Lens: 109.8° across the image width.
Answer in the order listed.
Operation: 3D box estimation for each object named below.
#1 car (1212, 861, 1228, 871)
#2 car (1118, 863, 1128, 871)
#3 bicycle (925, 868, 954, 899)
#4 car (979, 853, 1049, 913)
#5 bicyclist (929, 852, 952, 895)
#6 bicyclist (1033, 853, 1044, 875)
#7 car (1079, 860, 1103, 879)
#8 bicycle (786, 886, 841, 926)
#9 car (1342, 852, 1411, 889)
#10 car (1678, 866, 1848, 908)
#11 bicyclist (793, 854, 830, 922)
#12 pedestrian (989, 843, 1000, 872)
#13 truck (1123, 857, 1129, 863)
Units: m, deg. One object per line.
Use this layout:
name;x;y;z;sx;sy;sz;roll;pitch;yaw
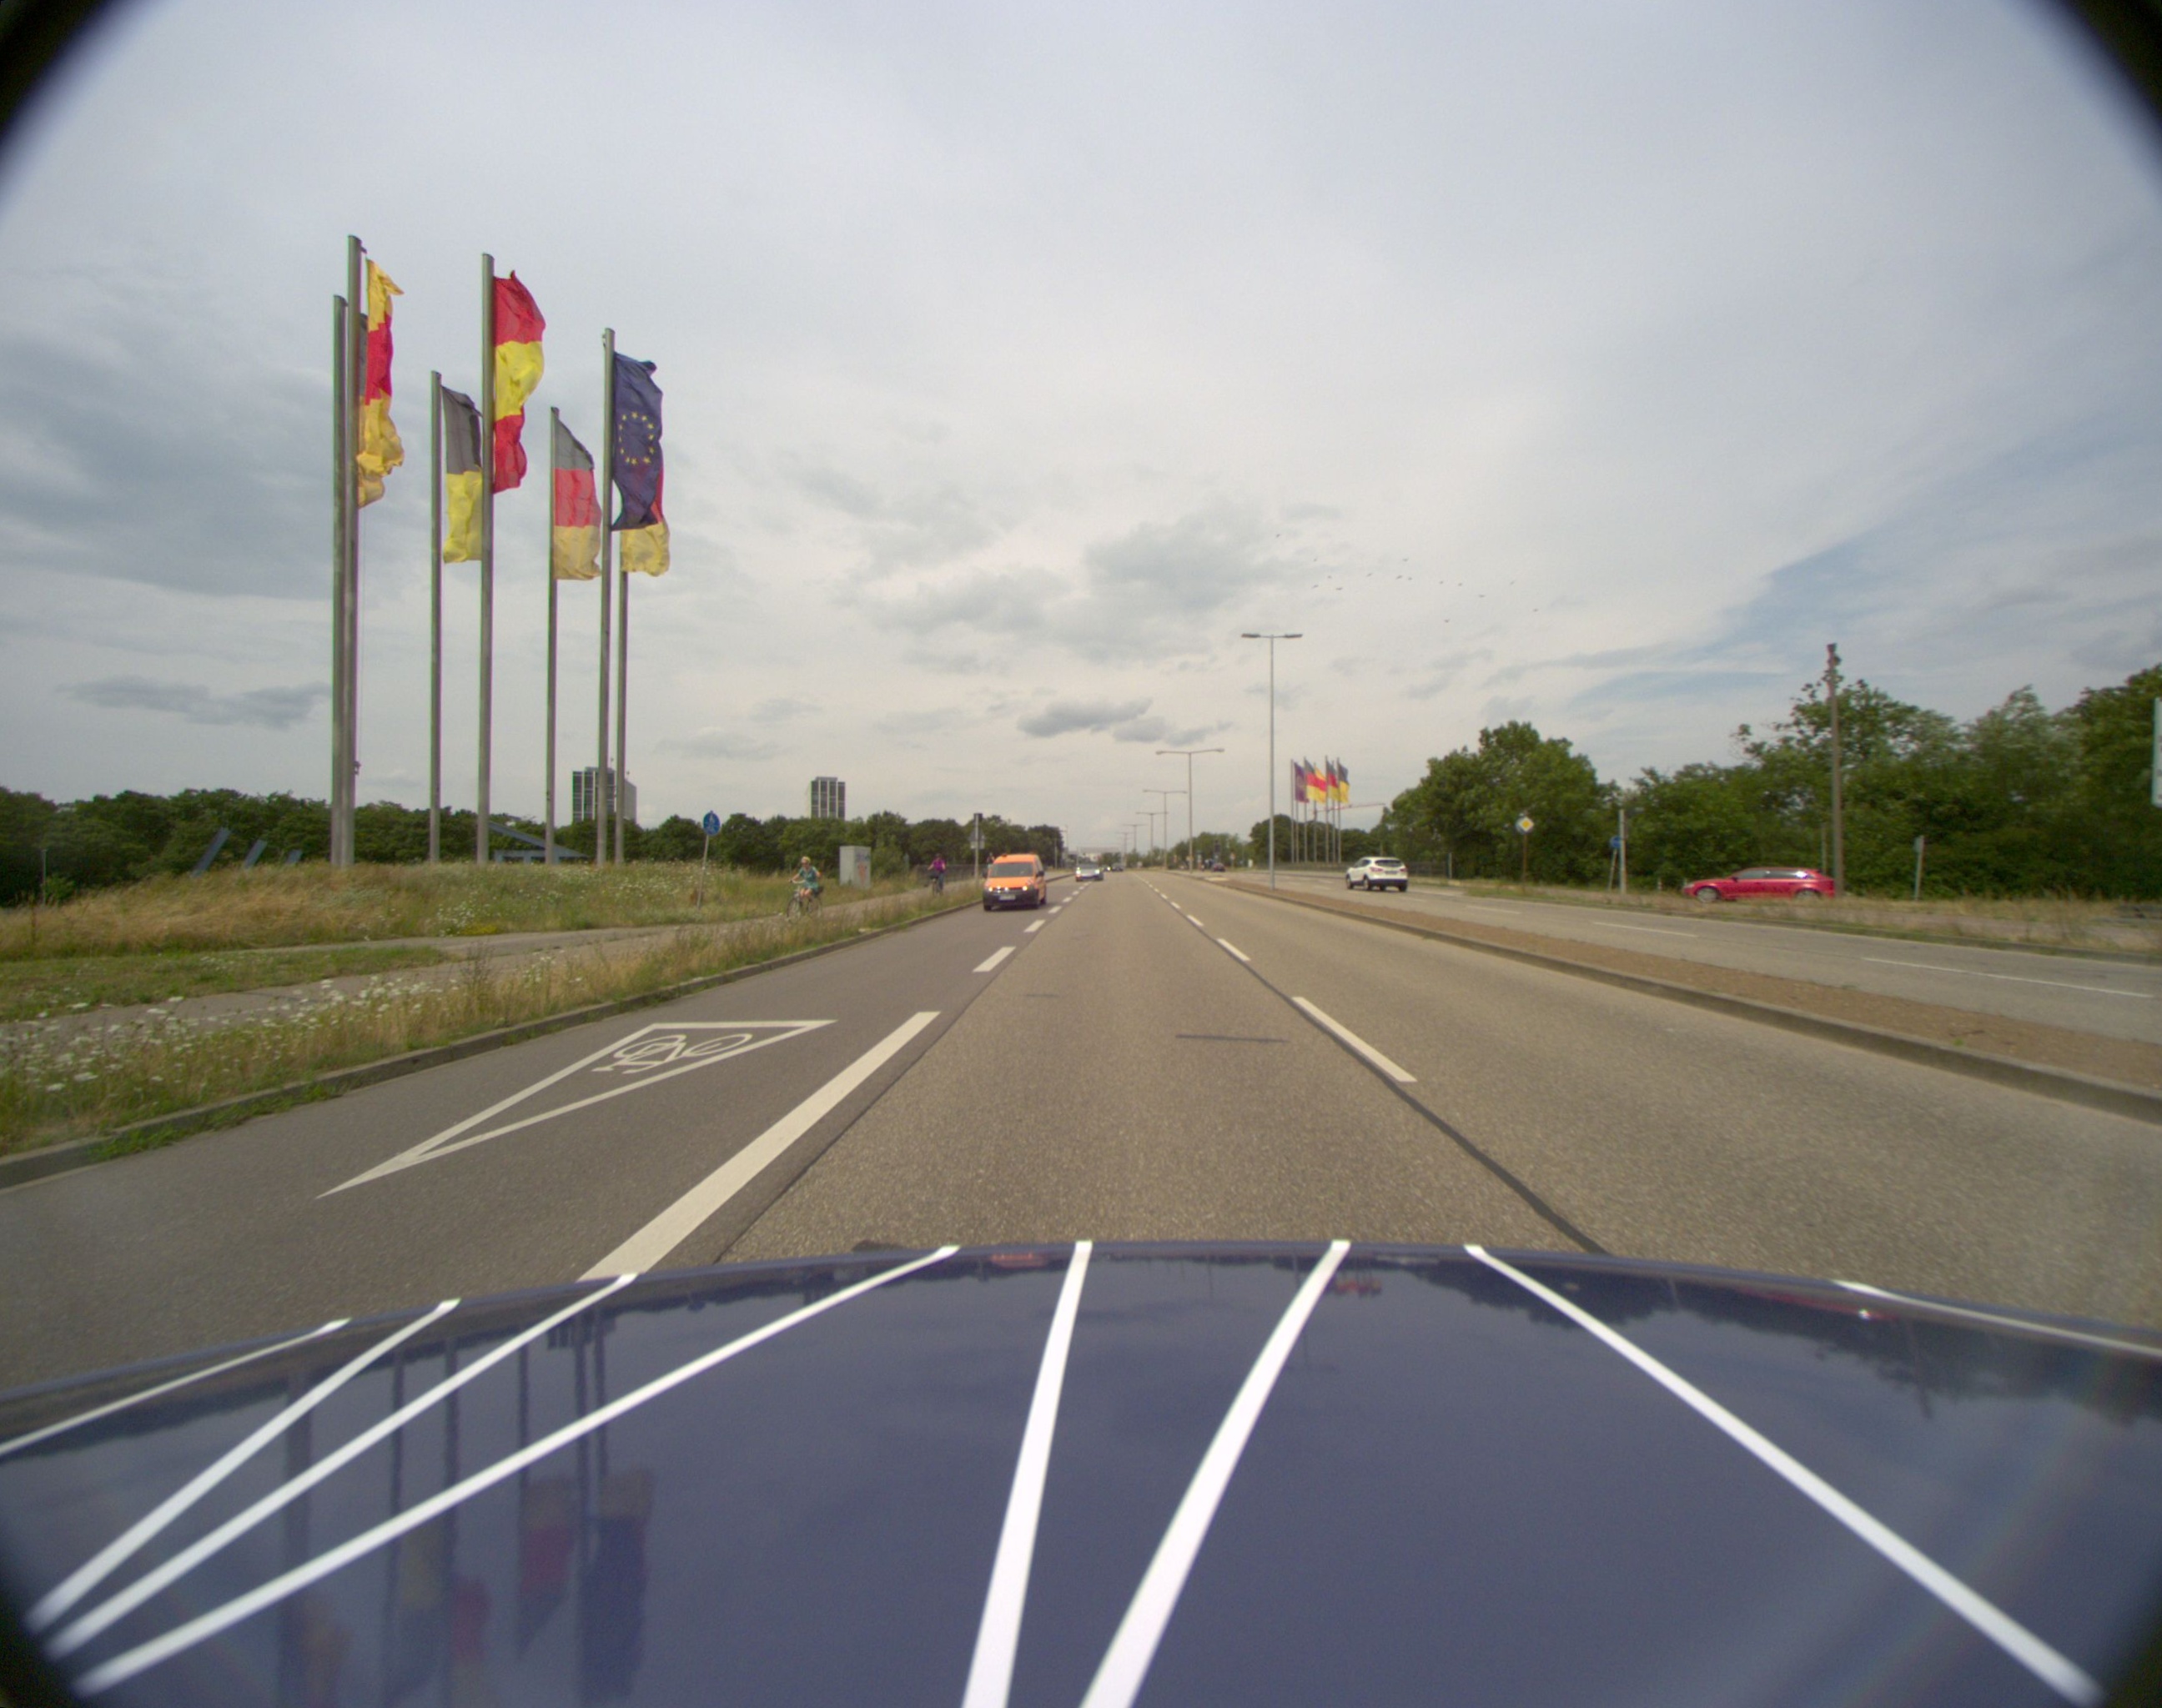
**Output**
car;20.815;1.778;114.284;1.997;1.365;4.579;1;0;6
car;6.899;2.143;124.832;1.558;1.229;3.470;-2;-1;1
bicycle;-5.708;1.171;30.735;0.695;1.185;2.461;0;-1;1
car;-2.197;0.950;26.058;1.892;1.824;4.431;-2;-1;1
bicyclist;-5.688;0.781;30.834;0.705;1.745;0.991;0;0;0
bicyclist;-3.547;0.815;63.722;0.873;1.791;0.956;0;1;-4
car;0.698;1.173;57.511;1.695;1.403;3.684;-2;-1;-1
bicycle;-6.797;1.296;19.398;0.625;0.883;2.154;-1;0;0
car;13.826;0.787;35.832;1.698;1.619;4.385;-1;-1;2
car;24.415;1.144;27.346;1.785;1.365;4.286;0;-1;-37
bicyclist;-6.807;0.853;19.227;0.623;1.656;0.669;2;-1;0
pedestrian;-6.178;0.266;54.324;0.628;2.001;0.668;1;0;2
truck;15.182;1.908;255.752;1.998;2.001;4.001;-1;-1;1
